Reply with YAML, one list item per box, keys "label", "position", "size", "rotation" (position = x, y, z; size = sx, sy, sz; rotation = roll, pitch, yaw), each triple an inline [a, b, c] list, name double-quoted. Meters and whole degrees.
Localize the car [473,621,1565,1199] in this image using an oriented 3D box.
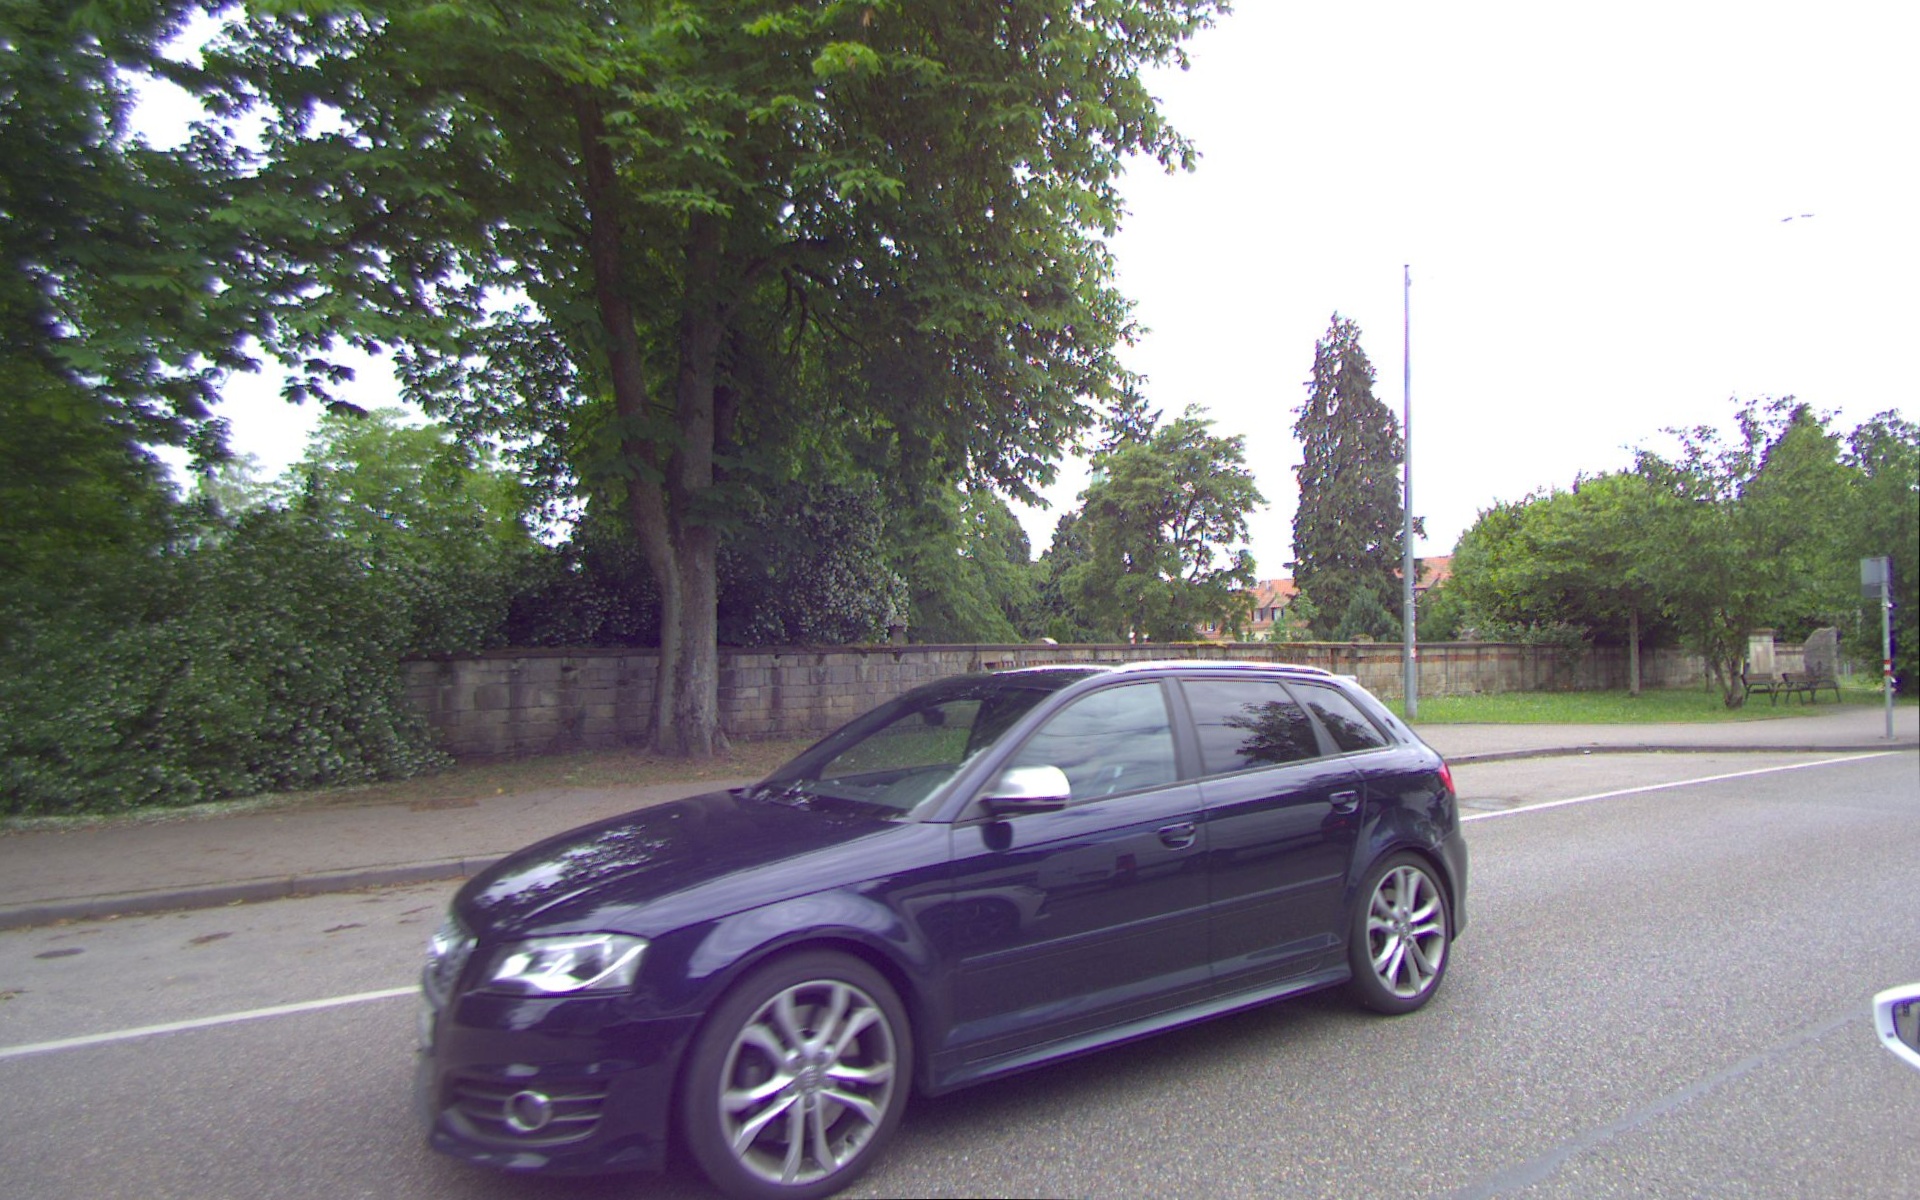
- label: "car"
  position: [0.347, 0.899, 4.076]
  size: [4.062, 1.472, 1.851]
  rotation: [1, -5, -30]
